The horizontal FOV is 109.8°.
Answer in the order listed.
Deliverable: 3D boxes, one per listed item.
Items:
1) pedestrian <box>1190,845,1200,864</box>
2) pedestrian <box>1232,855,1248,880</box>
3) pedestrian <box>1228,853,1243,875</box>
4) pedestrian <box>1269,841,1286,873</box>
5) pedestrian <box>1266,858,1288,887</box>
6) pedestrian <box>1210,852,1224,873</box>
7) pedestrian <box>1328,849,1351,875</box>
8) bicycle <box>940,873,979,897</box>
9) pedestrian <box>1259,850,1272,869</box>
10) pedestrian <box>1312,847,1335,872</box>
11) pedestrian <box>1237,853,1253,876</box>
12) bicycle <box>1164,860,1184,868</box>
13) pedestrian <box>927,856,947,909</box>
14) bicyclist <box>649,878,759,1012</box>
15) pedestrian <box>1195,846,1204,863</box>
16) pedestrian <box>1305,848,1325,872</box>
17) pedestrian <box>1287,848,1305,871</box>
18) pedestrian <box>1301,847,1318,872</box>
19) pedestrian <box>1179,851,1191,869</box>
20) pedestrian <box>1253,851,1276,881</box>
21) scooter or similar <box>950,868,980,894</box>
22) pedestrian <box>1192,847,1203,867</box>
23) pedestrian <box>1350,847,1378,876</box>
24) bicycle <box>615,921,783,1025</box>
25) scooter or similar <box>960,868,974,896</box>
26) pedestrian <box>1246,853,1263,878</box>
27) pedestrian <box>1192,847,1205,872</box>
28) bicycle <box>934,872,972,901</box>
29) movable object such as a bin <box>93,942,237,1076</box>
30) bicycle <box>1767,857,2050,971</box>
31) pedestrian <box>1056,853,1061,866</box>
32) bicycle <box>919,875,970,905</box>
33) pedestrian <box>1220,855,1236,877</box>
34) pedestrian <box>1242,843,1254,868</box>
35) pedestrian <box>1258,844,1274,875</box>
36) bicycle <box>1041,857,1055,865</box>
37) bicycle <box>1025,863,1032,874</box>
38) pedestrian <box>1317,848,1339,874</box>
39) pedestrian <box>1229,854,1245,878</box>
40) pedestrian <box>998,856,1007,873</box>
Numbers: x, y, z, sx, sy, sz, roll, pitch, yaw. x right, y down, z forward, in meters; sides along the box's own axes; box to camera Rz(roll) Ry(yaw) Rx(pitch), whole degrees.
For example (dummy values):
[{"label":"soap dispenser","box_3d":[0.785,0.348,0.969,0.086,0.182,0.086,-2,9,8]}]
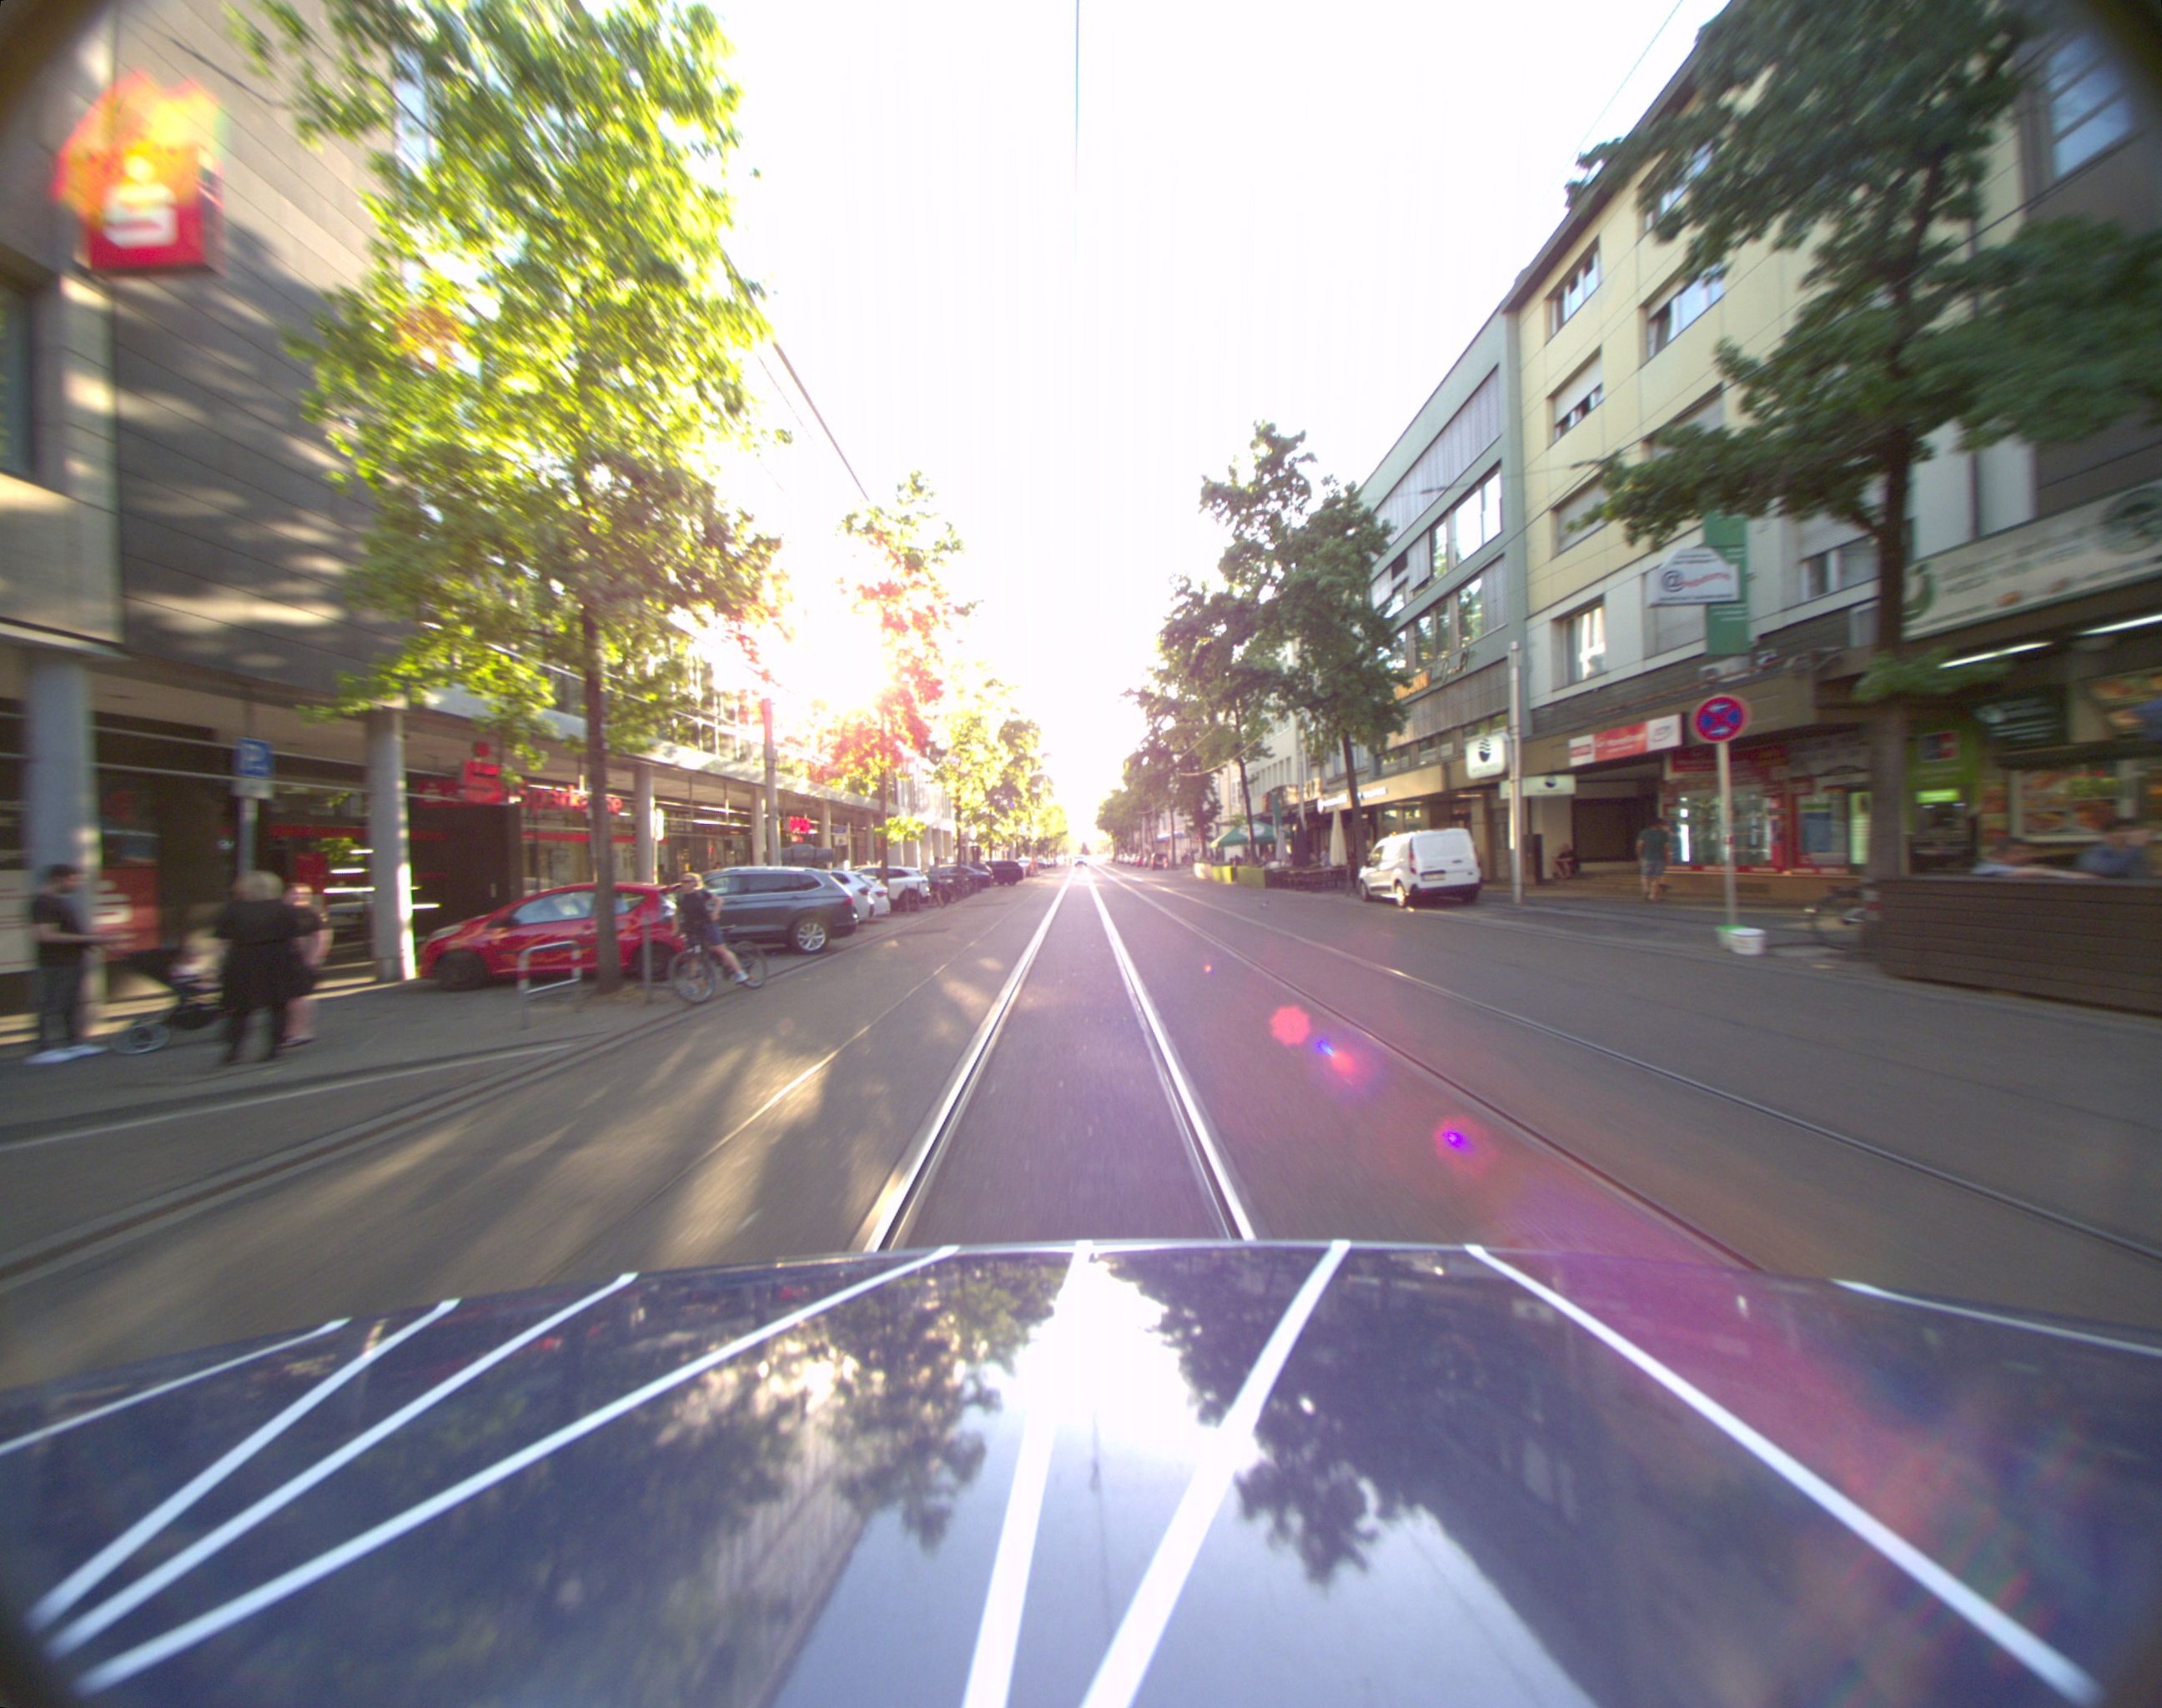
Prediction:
[{"label":"pedestrian","box_3d":[11.422,0.029,76.303,0.721,1.802,0.876,-5,1,0]},{"label":"pedestrian","box_3d":[8.339,0.700,39.888,0.620,1.237,0.697,-5,1,-1]},{"label":"pedestrian","box_3d":[9.366,0.609,46.146,0.691,1.304,0.807,-4,1,1]},{"label":"pedestrian","box_3d":[10.945,0.181,42.377,0.679,1.746,0.697,-4,1,2]},{"label":"pedestrian","box_3d":[8.487,0.775,32.966,0.658,1.186,0.798,-5,1,0]},{"label":"pedestrian","box_3d":[9.113,0.562,50.982,0.691,1.378,0.807,-4,1,1]},{"label":"pedestrian","box_3d":[12.285,0.373,36.156,0.702,1.161,0.788,-5,1,-1]},{"label":"bicycle","box_3d":[-5.571,1.411,34.959,1.566,1.082,0.867,1,-1,-30]},{"label":"pedestrian","box_3d":[12.840,0.398,52.993,0.646,1.262,0.738,-4,1,1]},{"label":"pedestrian","box_3d":[12.463,0.268,39.131,0.779,1.230,0.945,-5,0,0]},{"label":"pedestrian","box_3d":[9.483,0.599,43.975,0.709,1.252,0.869,-4,0,2]},{"label":"bicycle","box_3d":[8.961,0.982,73.384,1.799,0.605,1.282,-3,0,3]},{"label":"pedestrian","box_3d":[-5.281,1.021,27.838,0.584,1.907,0.663,0,1,2]},{"label":"bicyclist","box_3d":[-4.902,1.164,9.929,0.778,1.603,0.913,-4,0,14]},{"label":"pedestrian","box_3d":[12.233,0.051,78.362,0.709,1.646,0.967,-2,0,2]},{"label":"pedestrian","box_3d":[12.434,0.310,40.396,0.738,1.224,0.788,-5,1,-1]},{"label":"pedestrian","box_3d":[12.038,0.306,42.577,0.671,1.235,0.799,-4,1,-1]},{"label":"pedestrian","box_3d":[12.407,0.277,41.304,0.620,1.302,0.697,-5,1,-1]},{"label":"pedestrian","box_3d":[10.478,0.578,76.610,0.867,1.771,0.884,-5,1,0]},{"label":"pedestrian","box_3d":[8.845,0.575,36.643,0.756,1.335,0.872,-5,1,-1]},{"label":"scooter or similar","box_3d":[-5.737,1.342,37.472,1.309,1.269,0.563,1,1,-31]},{"label":"pedestrian","box_3d":[10.511,0.288,68.640,0.776,1.782,0.984,-5,1,2]},{"label":"pedestrian","box_3d":[12.399,0.332,33.338,0.755,1.181,1.065,-5,0,0]},{"label":"bicycle","box_3d":[-4.861,1.482,9.872,0.719,0.989,2.061,-4,0,14]},{"label":"scooter or similar","box_3d":[-5.463,1.341,36.515,0.452,1.269,1.306,2,0,-1]},{"label":"pedestrian","box_3d":[9.159,0.612,40.089,0.620,1.237,0.697,-5,1,-1]},{"label":"pedestrian","box_3d":[8.633,0.398,55.877,0.759,1.781,0.686,-4,1,-1]},{"label":"bicycle","box_3d":[-5.497,1.389,32.751,0.480,1.156,1.698,2,1,40]},{"label":"movable object such as a bin","box_3d":[-8.649,1.427,7.219,0.687,1.057,0.835,1,1,42]},{"label":"bicycle","box_3d":[9.512,0.649,8.885,0.700,1.114,2.084,-5,0,-17]},{"label":"pedestrian","box_3d":[-3.439,0.818,115.643,0.705,1.858,0.792,-2,1,-2]},{"label":"bicycle","box_3d":[-5.509,1.429,30.619,1.899,1.113,0.666,0,1,-29]},{"label":"pedestrian","box_3d":[8.539,0.696,44.053,0.709,1.252,0.772,-4,1,2]},{"label":"pedestrian","box_3d":[12.125,0.117,55.125,0.685,1.805,0.765,-4,1,15]},{"label":"pedestrian","box_3d":[10.166,0.279,41.754,0.620,1.661,0.697,-4,1,-1]},{"label":"bicycle","box_3d":[-5.613,1.162,129.598,2.325,1.181,0.751,-2,0,1]},{"label":"bicycle","box_3d":[-5.117,1.397,74.086,0.494,0.976,1.930,-2,0,-2]},{"label":"pedestrian","box_3d":[12.146,0.342,37.342,0.738,1.207,0.788,-5,1,-1]},{"label":"pedestrian","box_3d":[8.452,0.649,41.072,0.620,1.237,0.697,-5,1,-1]},{"label":"pedestrian","box_3d":[-9.007,1.216,87.330,0.835,1.886,0.918,-1,0,3]}]
